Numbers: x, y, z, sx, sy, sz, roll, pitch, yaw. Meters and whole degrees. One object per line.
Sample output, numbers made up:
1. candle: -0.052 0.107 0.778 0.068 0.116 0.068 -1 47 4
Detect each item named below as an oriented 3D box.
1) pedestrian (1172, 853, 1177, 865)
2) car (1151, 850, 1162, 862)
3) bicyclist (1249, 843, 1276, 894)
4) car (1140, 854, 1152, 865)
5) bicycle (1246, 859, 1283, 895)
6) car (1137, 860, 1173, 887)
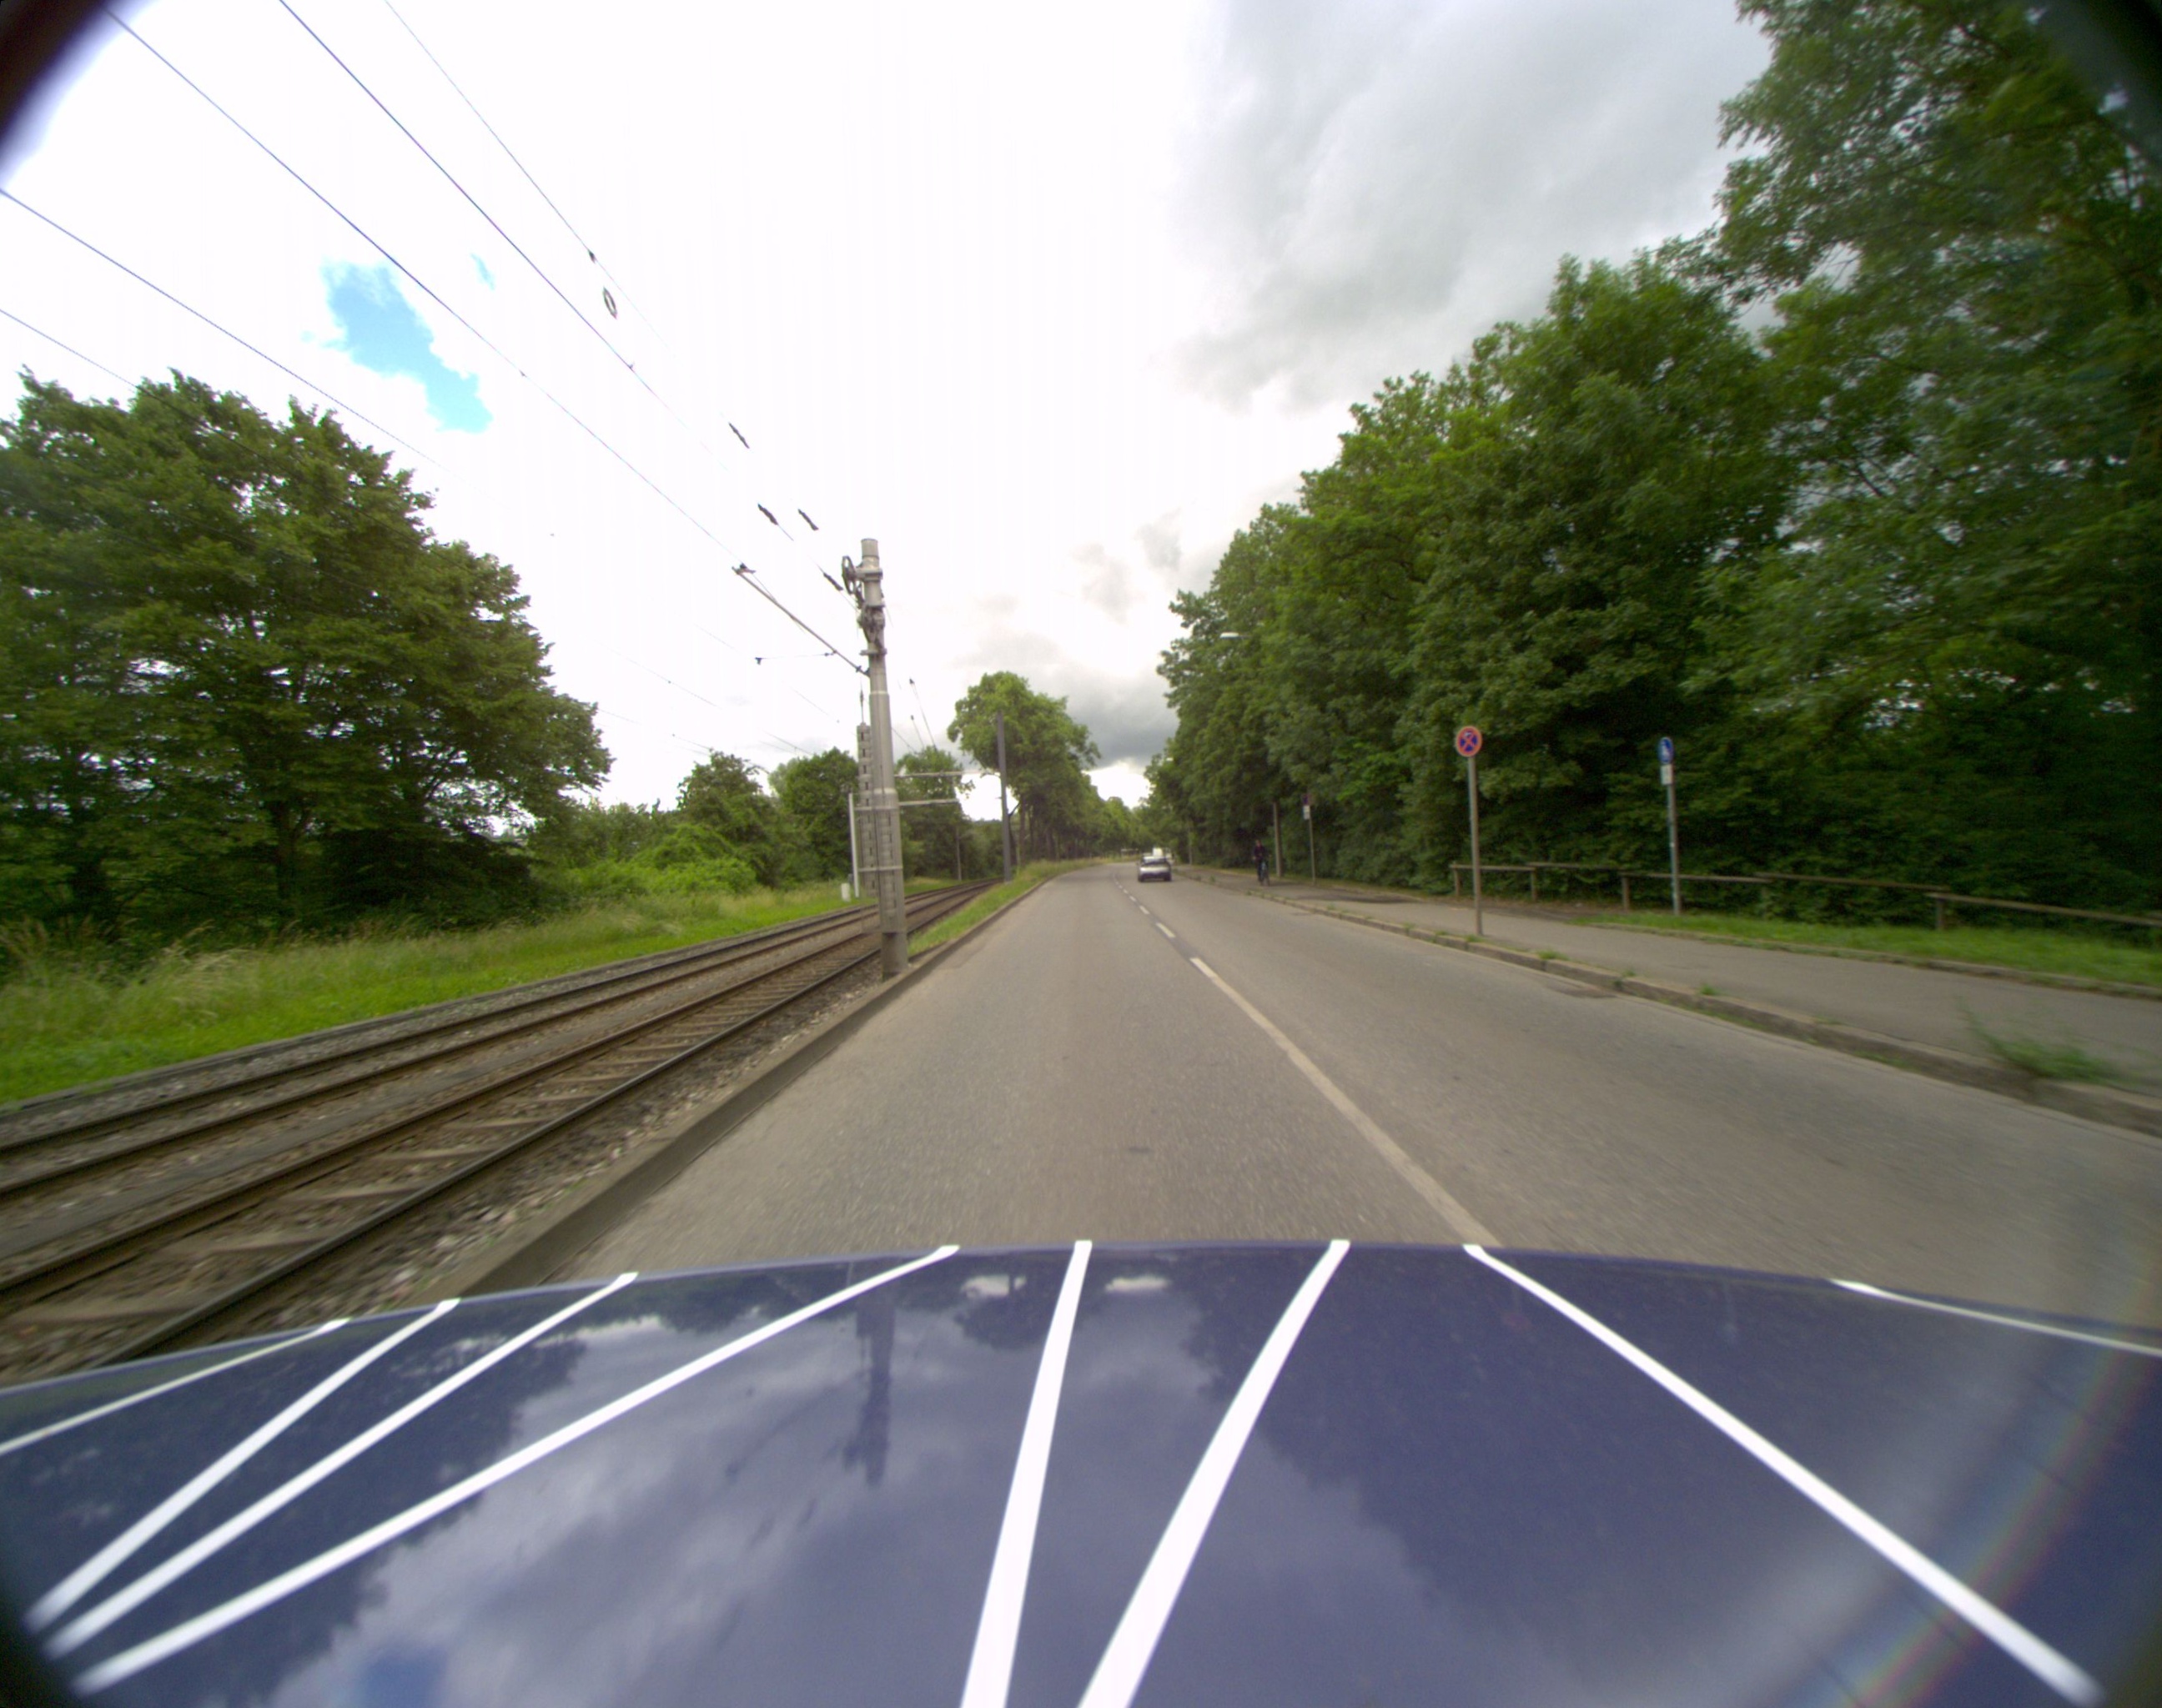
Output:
1. pedestrian: 13.668 0.669 110.889 0.600 1.704 0.815 -5 0 3
2. car: 16.358 0.454 164.603 1.998 2.611 5.897 -2 0 4
3. bicyclist: 7.122 0.554 29.789 0.688 1.936 0.835 -4 0 -2
4. car: 11.444 0.969 133.325 1.861 1.788 4.557 -2 -1 2
5. bicycle: 7.143 0.874 29.747 0.700 1.324 2.280 -5 0 -3
6. car: 4.330 1.135 44.904 1.798 1.483 4.180 -1 0 1
